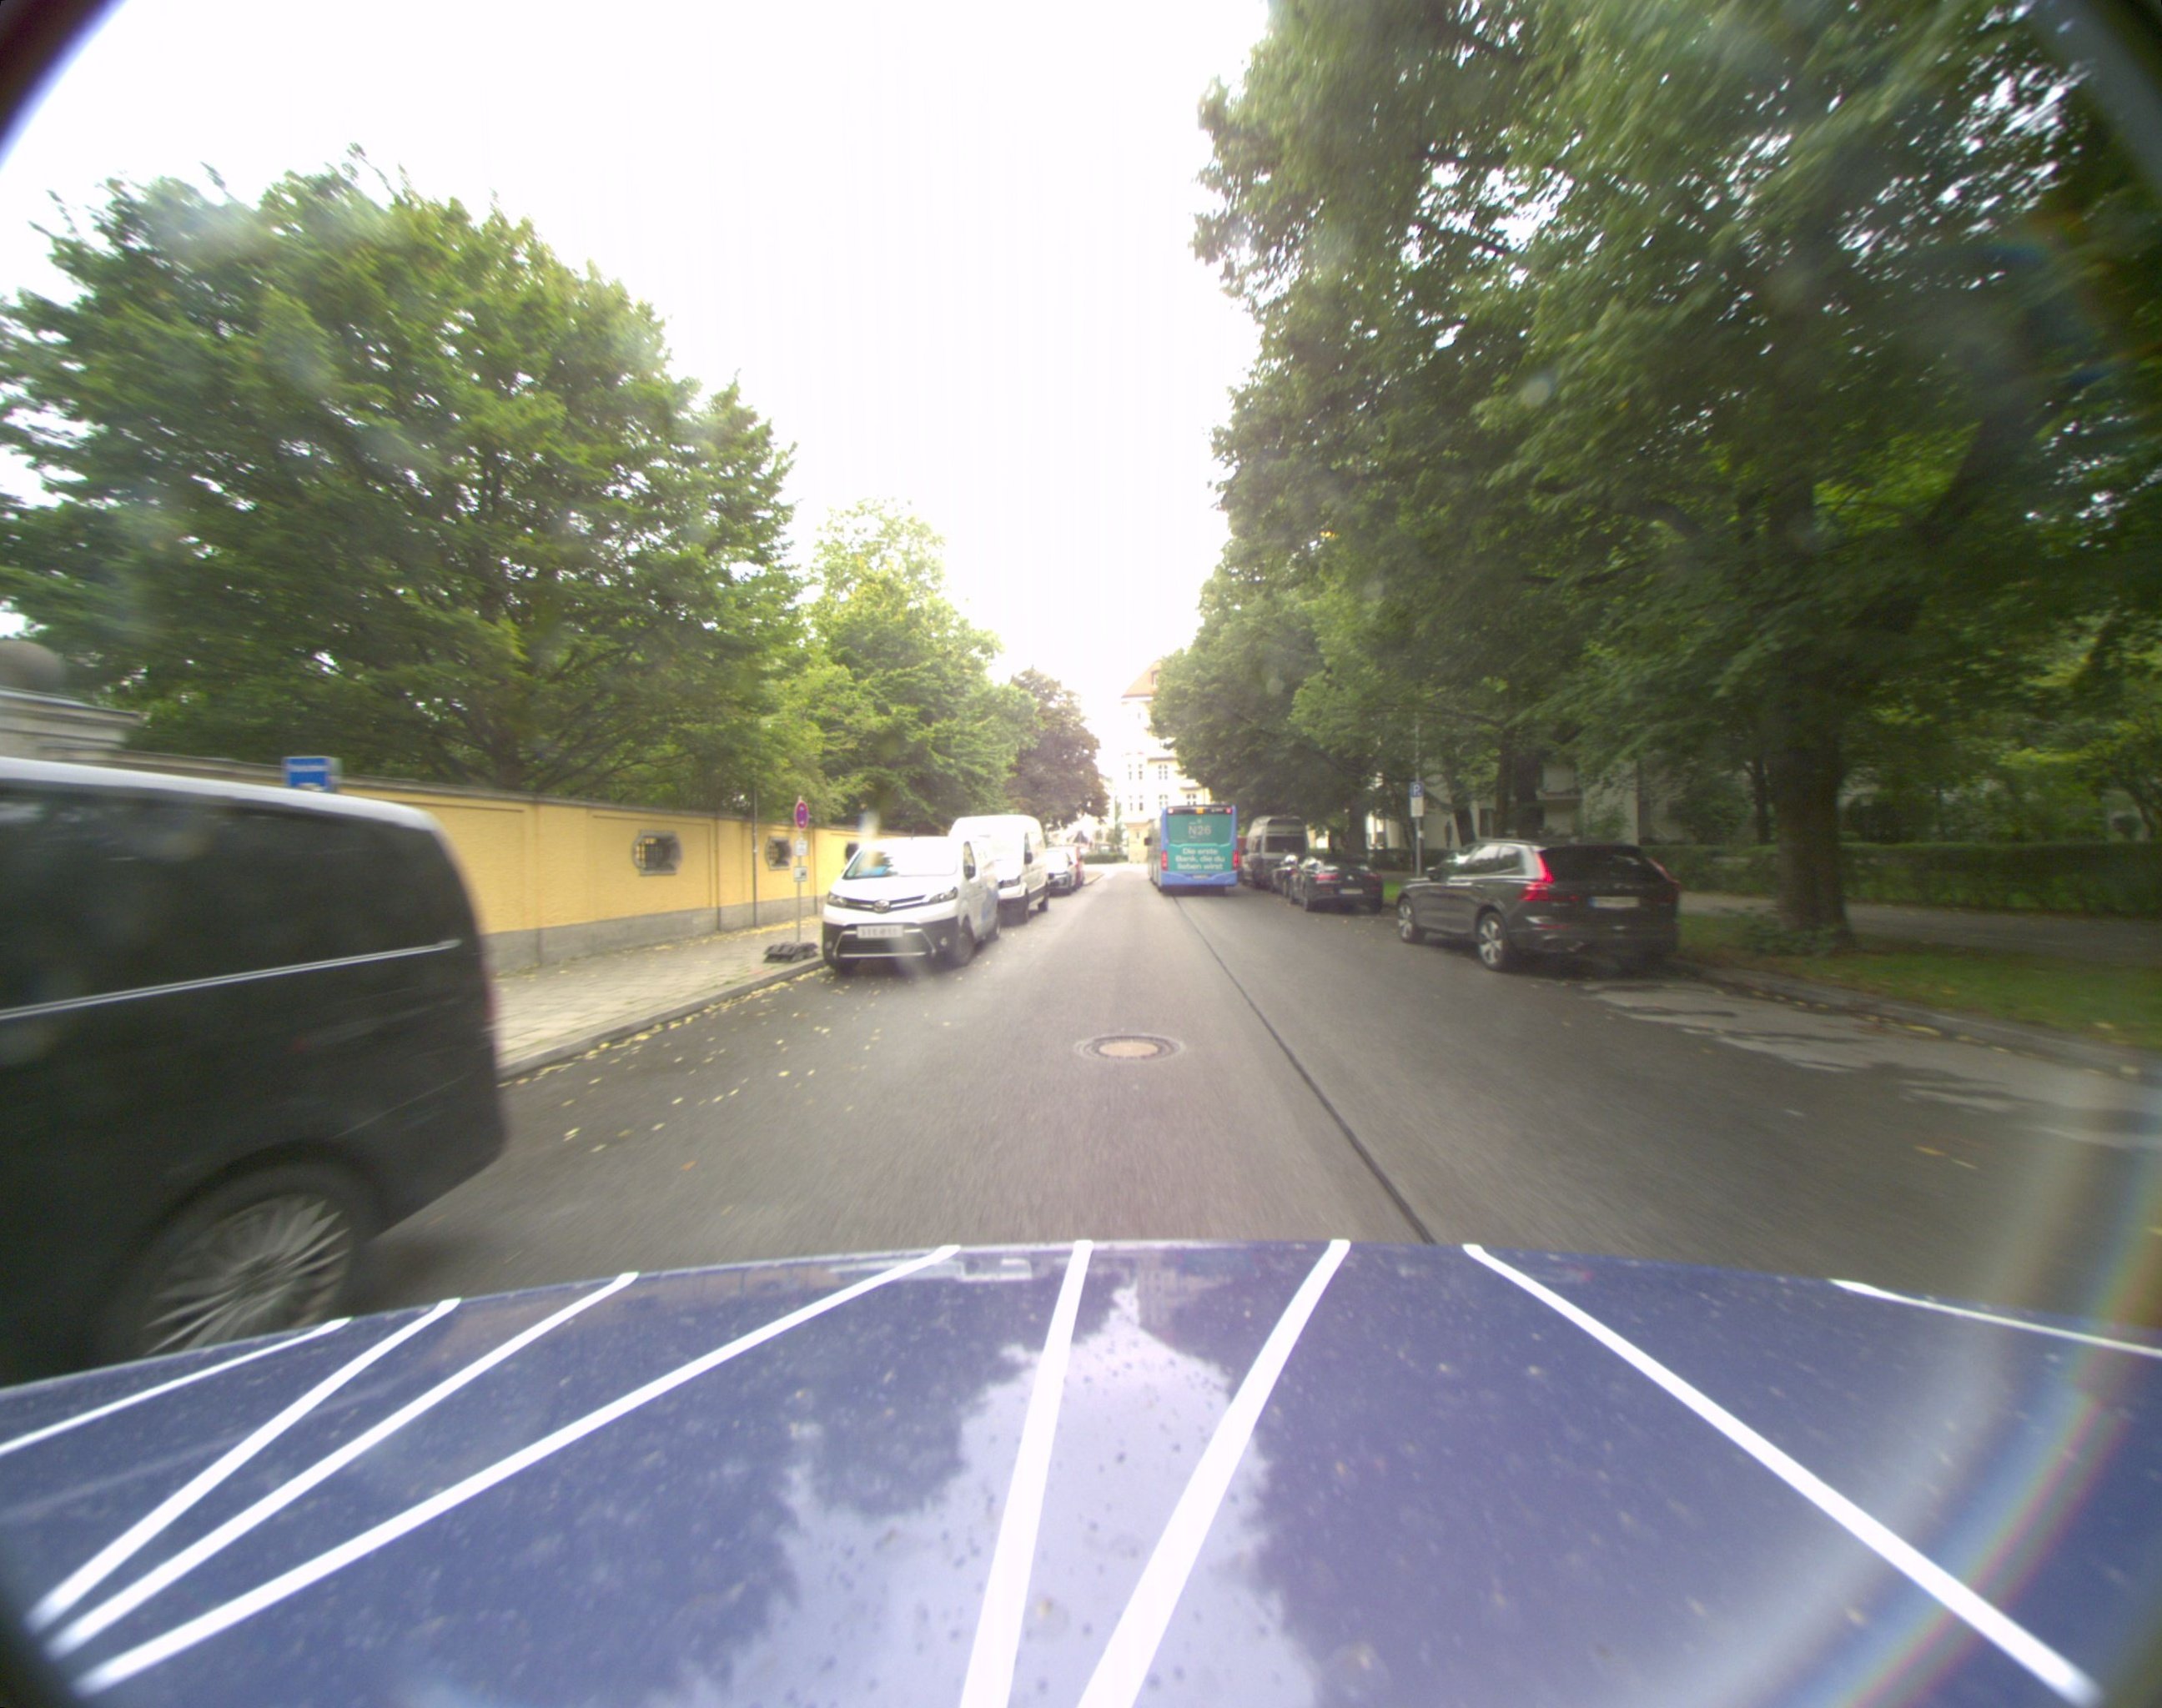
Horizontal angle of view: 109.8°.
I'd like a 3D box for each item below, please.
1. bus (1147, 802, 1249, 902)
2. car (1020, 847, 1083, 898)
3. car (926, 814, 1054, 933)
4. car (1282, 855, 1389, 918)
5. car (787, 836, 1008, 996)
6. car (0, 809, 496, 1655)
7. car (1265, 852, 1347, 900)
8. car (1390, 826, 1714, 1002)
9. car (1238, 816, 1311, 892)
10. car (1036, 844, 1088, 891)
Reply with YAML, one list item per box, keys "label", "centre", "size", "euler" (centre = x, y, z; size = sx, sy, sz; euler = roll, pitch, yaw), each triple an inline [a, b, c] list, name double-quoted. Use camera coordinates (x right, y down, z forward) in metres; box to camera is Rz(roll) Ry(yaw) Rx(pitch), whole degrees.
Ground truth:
- label: "bus"
  centre: [4.633, -0.294, 34.077]
  size: [2.866, 3.221, 18.426]
  euler: [-1, 1, 4]
- label: "car"
  centre: [-1.057, 0.660, 29.460]
  size: [1.863, 1.731, 4.603]
  euler: [-2, 1, 4]
- label: "car"
  centre: [-2.026, 0.346, 18.918]
  size: [2.100, 2.473, 5.740]
  euler: [-1, 1, 3]
- label: "car"
  centre: [6.489, 0.765, 19.888]
  size: [1.793, 1.429, 4.554]
  euler: [-1, 0, 7]
- label: "car"
  centre: [-2.509, 0.742, 11.924]
  size: [2.018, 1.895, 5.163]
  euler: [-3, 1, 1]
- label: "car"
  centre: [-3.390, 0.867, 0.521]
  size: [1.875, 1.858, 4.987]
  euler: [-1, 1, 3]
- label: "car"
  centre: [7.452, 0.683, 25.582]
  size: [1.794, 1.429, 4.580]
  euler: [-1, 0, 5]
- label: "car"
  centre: [5.940, 0.613, 10.382]
  size: [1.788, 1.866, 4.548]
  euler: [-1, 1, 3]
- label: "car"
  centre: [7.934, -0.076, 31.760]
  size: [1.949, 2.838, 6.237]
  euler: [-1, 1, 5]
- label: "car"
  centre: [-0.775, 0.571, 34.780]
  size: [1.863, 1.956, 5.446]
  euler: [-1, 0, 3]
